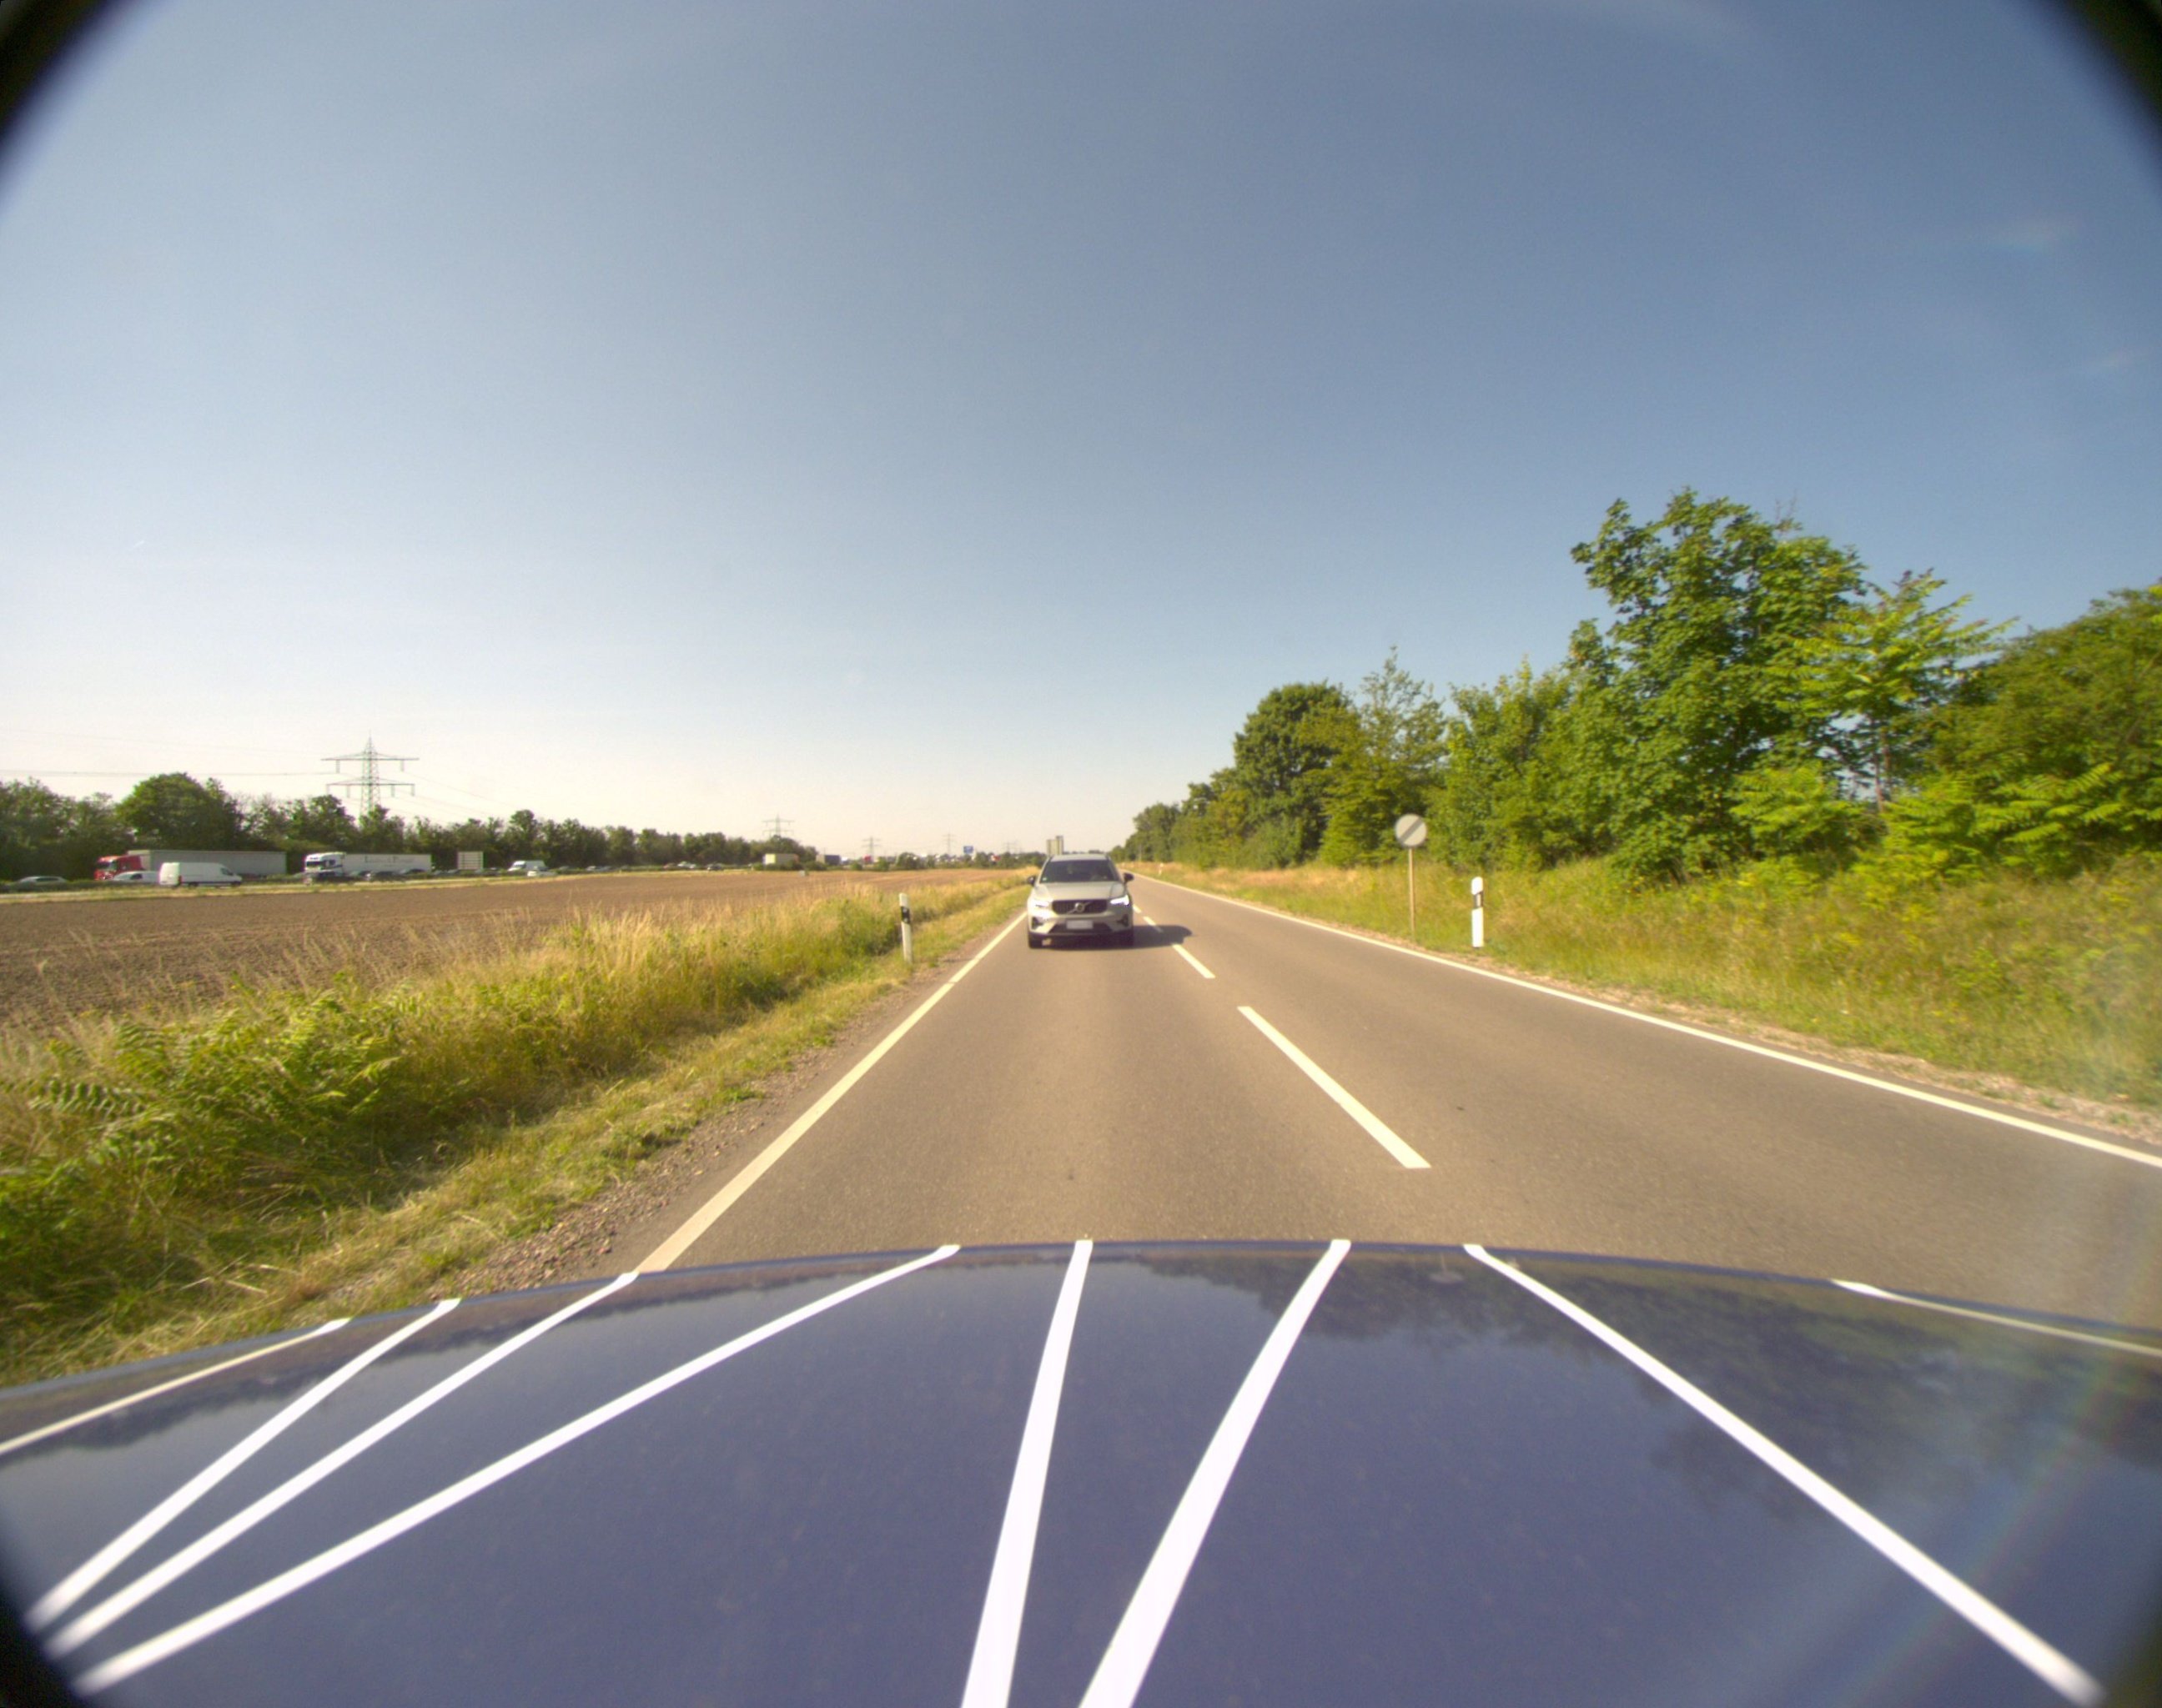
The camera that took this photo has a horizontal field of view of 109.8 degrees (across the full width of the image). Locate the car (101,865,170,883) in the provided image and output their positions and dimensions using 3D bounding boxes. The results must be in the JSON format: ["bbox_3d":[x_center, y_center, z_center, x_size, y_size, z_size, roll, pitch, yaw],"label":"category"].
[{"bbox_3d":[-94.994,2.013,76.408,1.707,1.629,4.094,-3,0,0],"label":"car"}]

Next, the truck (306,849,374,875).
[{"bbox_3d":[-100.799,1.077,103.487,3.210,3.510,6.109,0,0,0],"label":"truck"}]

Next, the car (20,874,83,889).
[{"bbox_3d":[-94.909,2.516,70.108,1.344,1.276,3.291,-3,0,-2],"label":"car"}]

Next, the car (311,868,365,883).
[{"bbox_3d":[-82.172,2.379,84.060,1.707,1.464,4.210,-3,0,1],"label":"car"}]

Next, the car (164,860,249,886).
[{"bbox_3d":[-87.275,1.845,75.947,1.998,2.358,5.521,-3,0,0],"label":"car"}]

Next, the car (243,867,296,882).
[{"bbox_3d":[-94.751,2.377,88.811,1.707,1.500,4.094,-3,0,1],"label":"car"}]

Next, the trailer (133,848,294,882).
[{"bbox_3d":[-101.192,1.215,89.265,2.953,3.711,13.782,-1,0,0],"label":"trailer"}]

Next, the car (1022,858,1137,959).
[{"bbox_3d":[0.019,0.914,14.642,1.840,1.627,4.136,-2,0,1],"label":"car"}]

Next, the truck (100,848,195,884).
[{"bbox_3d":[-101.234,1.219,82.532,2.953,3.711,5.869,-1,0,0],"label":"truck"}]

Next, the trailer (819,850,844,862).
[{"bbox_3d":[-79.310,0.682,241.755,3.080,3.779,14.593,-2,-1,-1],"label":"trailer"}]

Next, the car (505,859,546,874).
[{"bbox_3d":[-95.575,2.093,130.844,2.042,2.432,6.414,-2,0,1],"label":"car"}]

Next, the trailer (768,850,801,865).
[{"bbox_3d":[-80.492,0.944,206.559,3.111,3.826,13.719,-1,0,1],"label":"trailer"}]

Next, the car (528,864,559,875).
[{"bbox_3d":[-82.262,2.332,116.315,1.707,1.534,4.196,-3,1,1],"label":"car"}]

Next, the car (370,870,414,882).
[{"bbox_3d":[-86.419,2.757,95.322,1.707,1.365,4.094,-3,0,1],"label":"car"}]

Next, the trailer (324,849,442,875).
[{"bbox_3d":[-100.776,1.093,110.369,3.210,3.510,15.083,0,0,0],"label":"trailer"}]
